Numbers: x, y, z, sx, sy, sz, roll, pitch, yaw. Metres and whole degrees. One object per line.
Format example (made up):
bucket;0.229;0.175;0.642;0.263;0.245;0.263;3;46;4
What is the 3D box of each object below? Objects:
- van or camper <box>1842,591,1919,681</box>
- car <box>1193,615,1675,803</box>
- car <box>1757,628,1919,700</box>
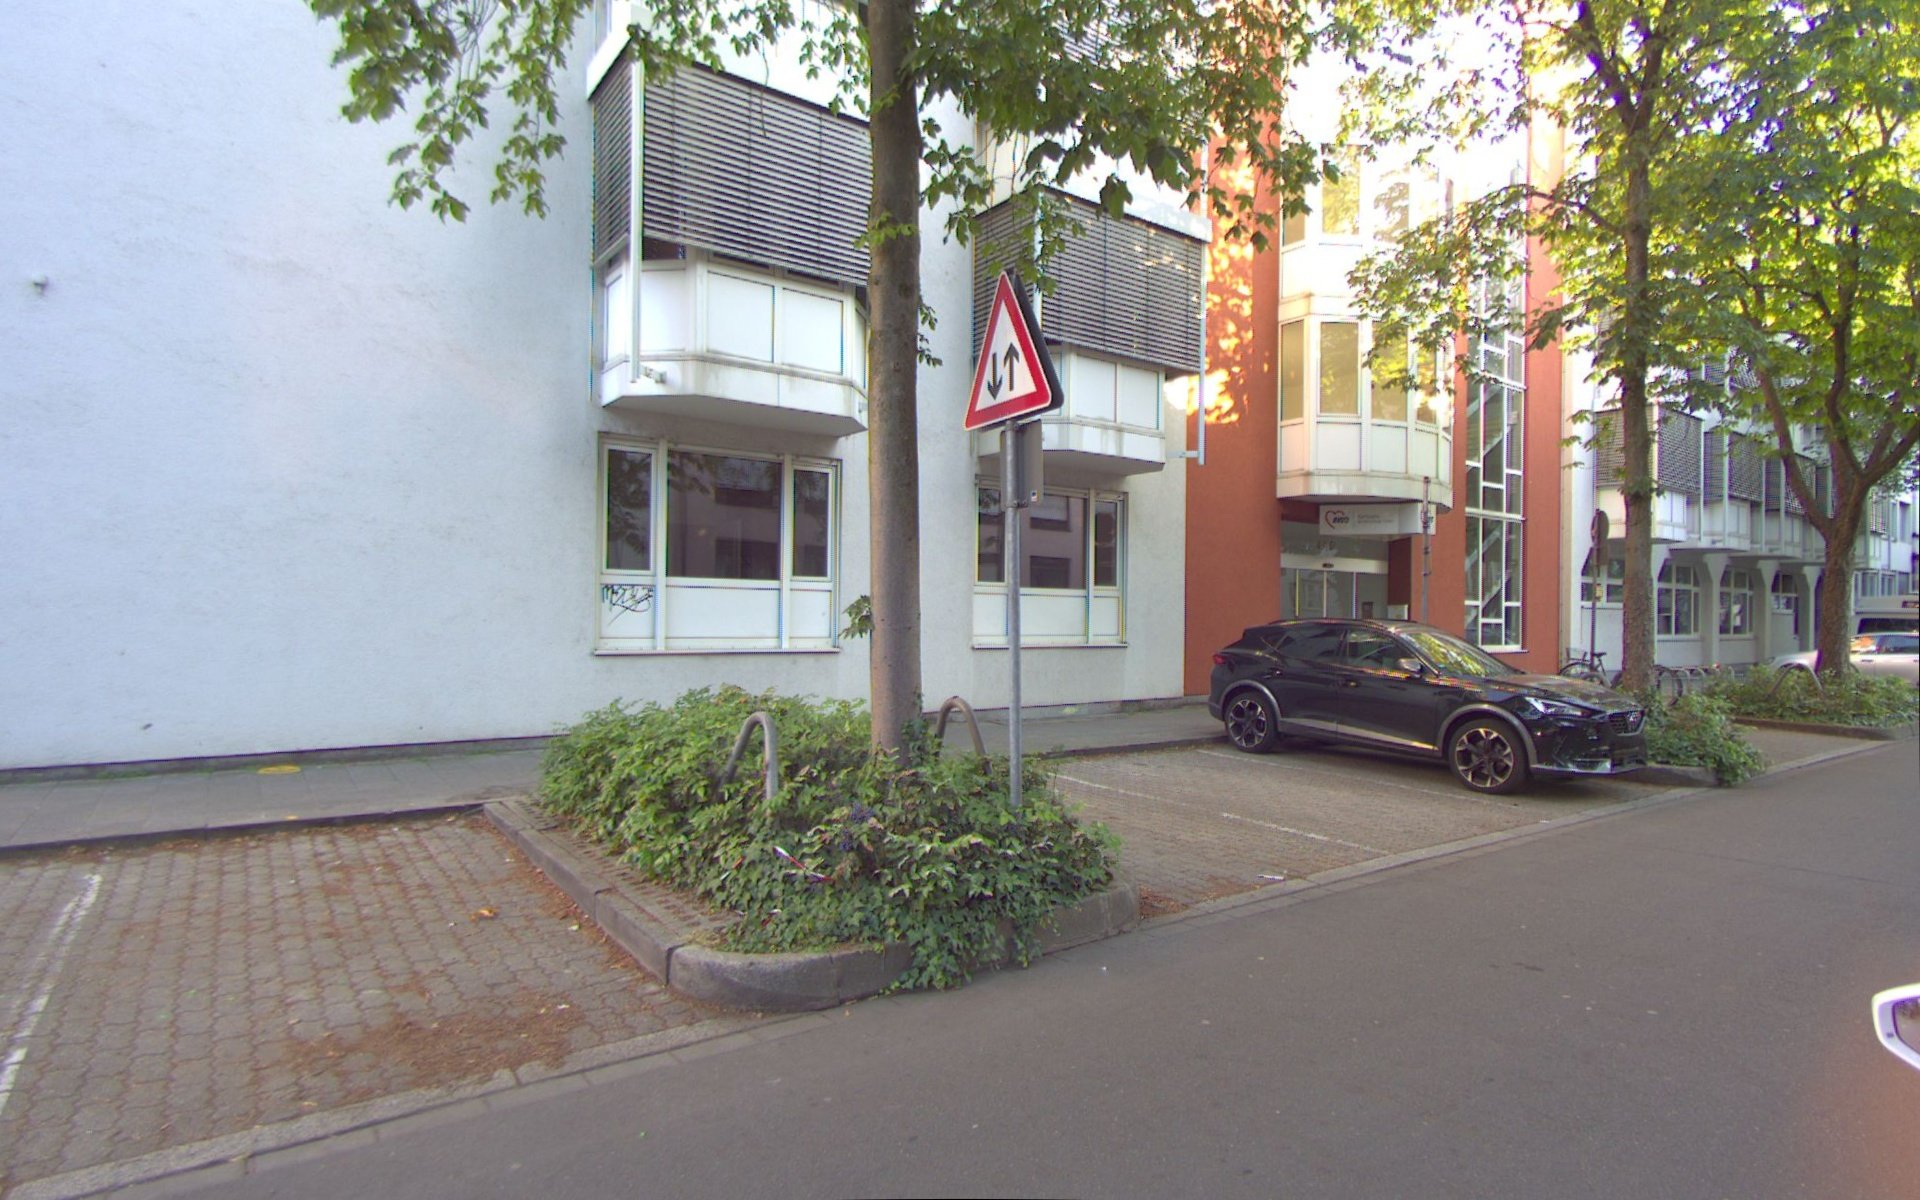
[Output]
van or camper;27.896;1.026;28.043;1.981;2.511;4.632;1;-1;-36
car;4.711;0.947;10.615;1.768;1.537;4.325;1;-1;-35
car;21.155;1.445;23.242;1.767;1.537;3.942;1;-1;-35
